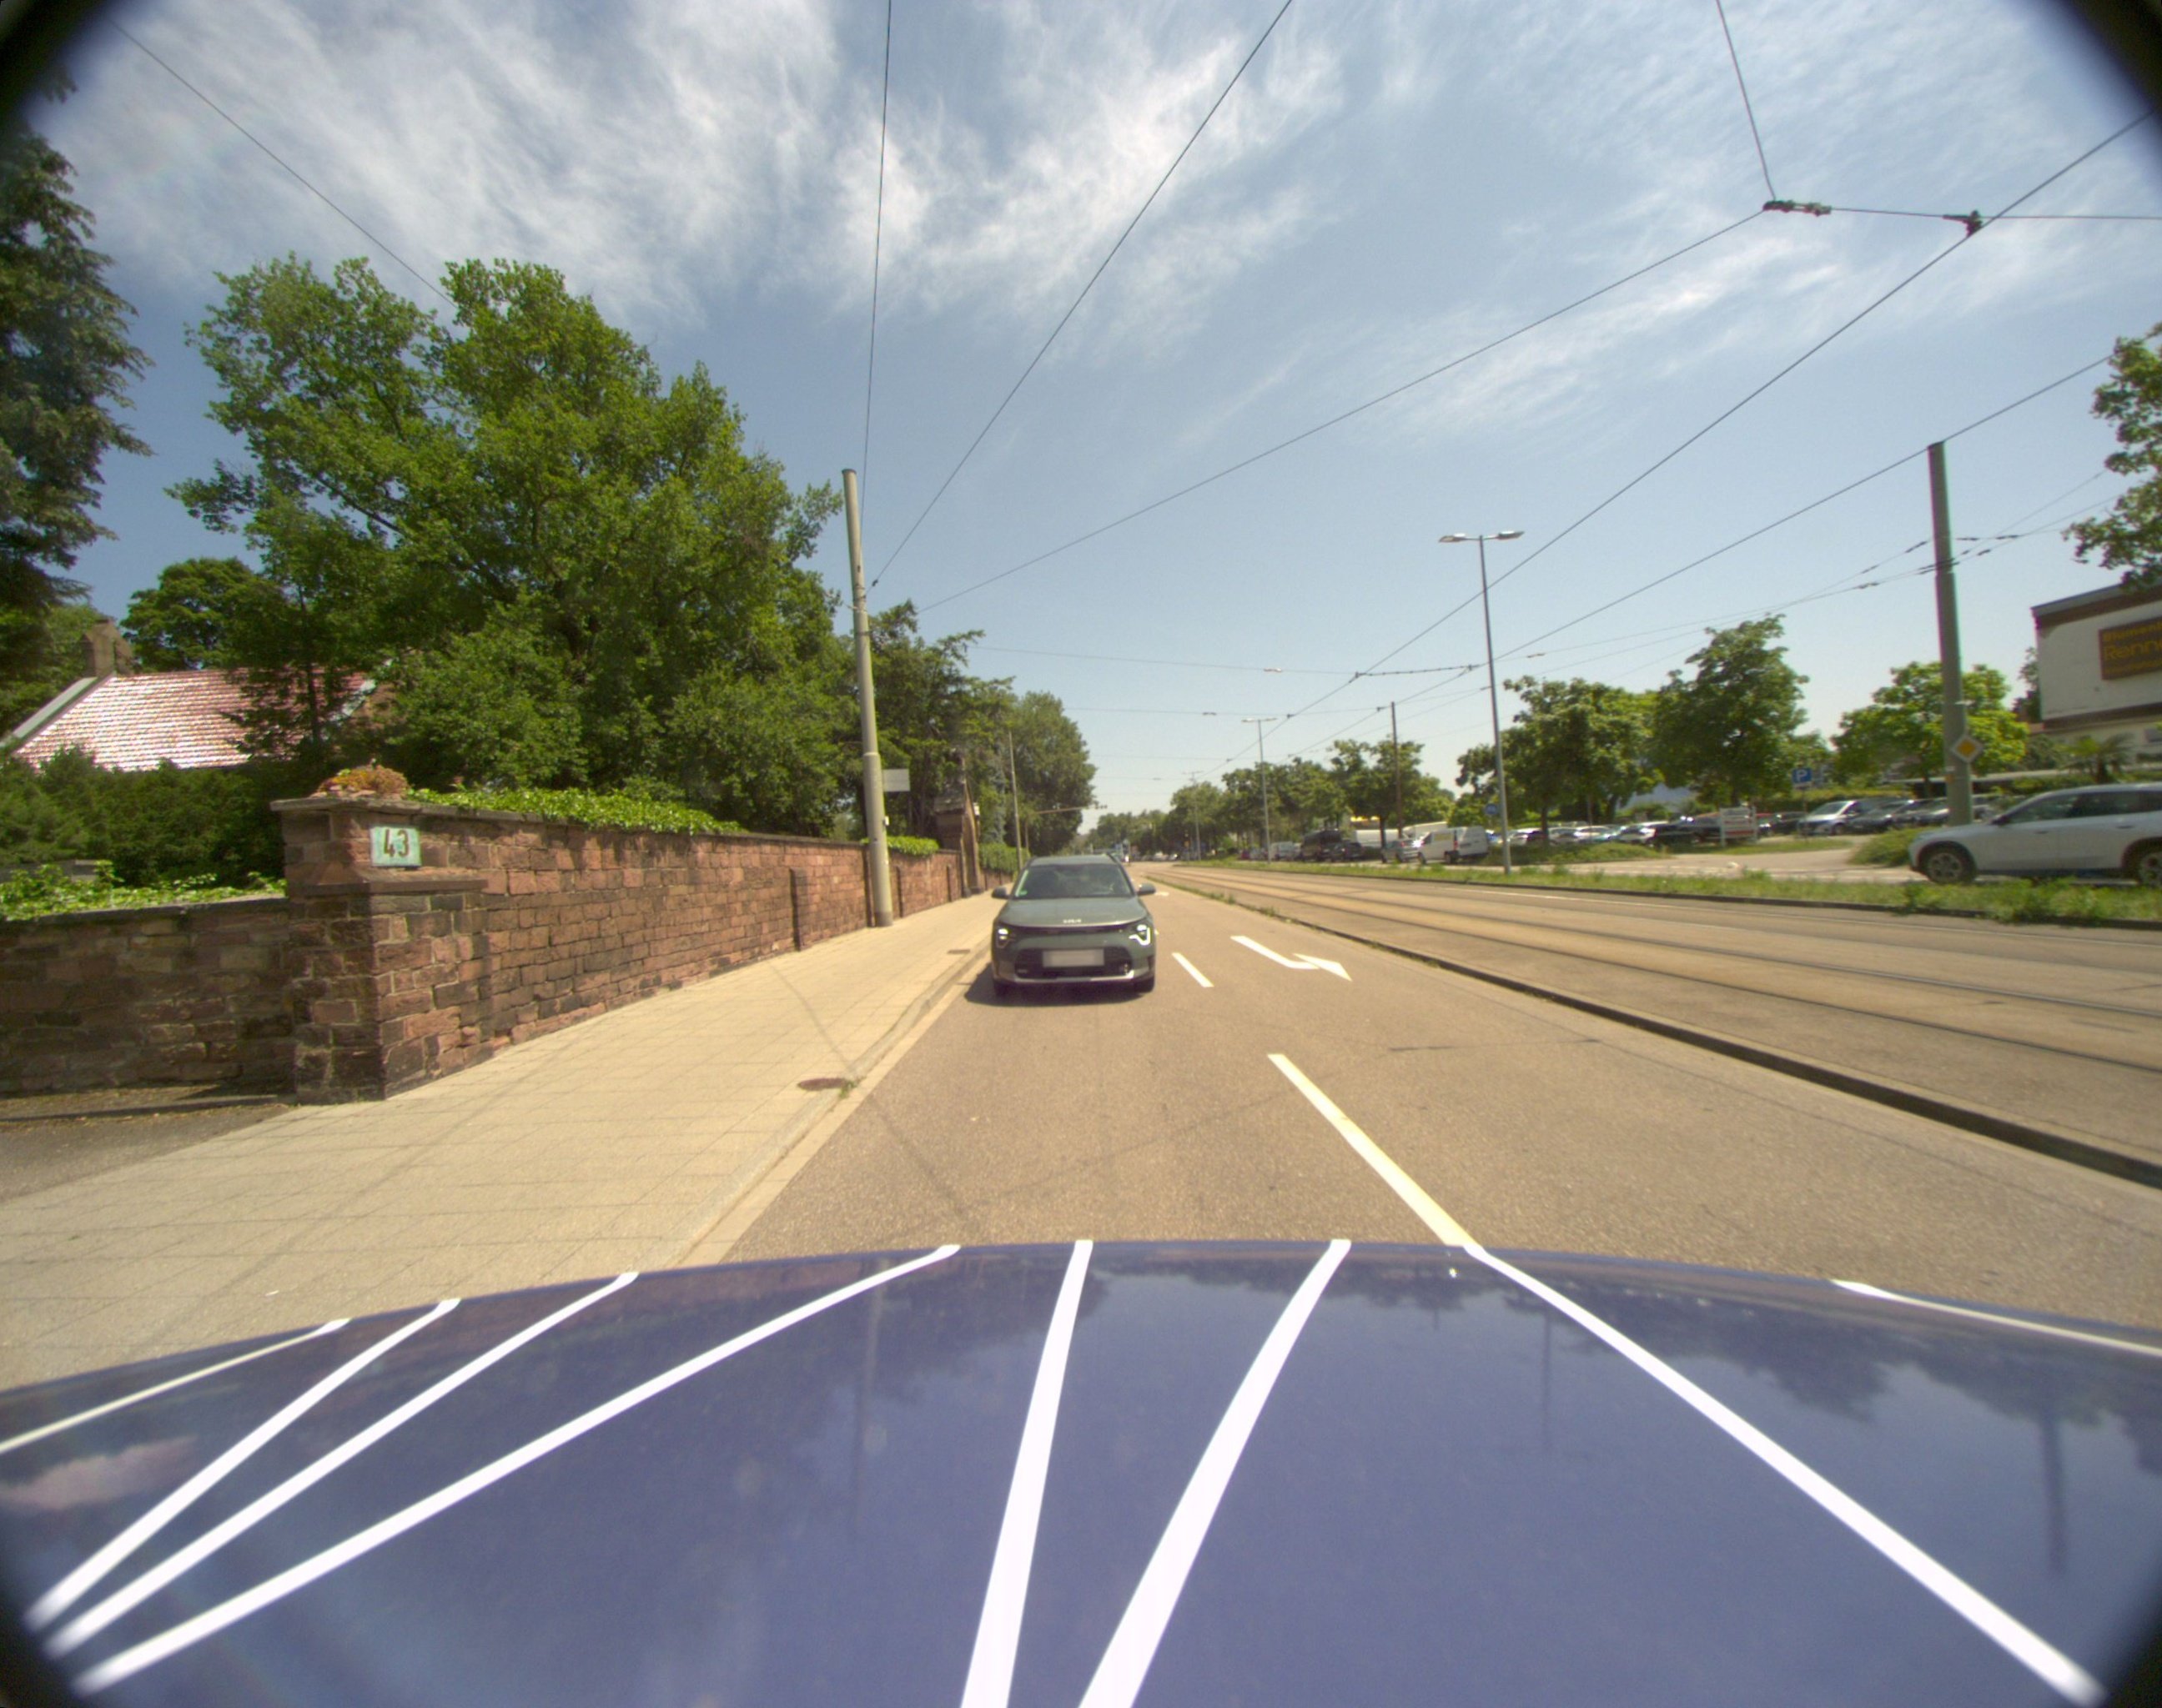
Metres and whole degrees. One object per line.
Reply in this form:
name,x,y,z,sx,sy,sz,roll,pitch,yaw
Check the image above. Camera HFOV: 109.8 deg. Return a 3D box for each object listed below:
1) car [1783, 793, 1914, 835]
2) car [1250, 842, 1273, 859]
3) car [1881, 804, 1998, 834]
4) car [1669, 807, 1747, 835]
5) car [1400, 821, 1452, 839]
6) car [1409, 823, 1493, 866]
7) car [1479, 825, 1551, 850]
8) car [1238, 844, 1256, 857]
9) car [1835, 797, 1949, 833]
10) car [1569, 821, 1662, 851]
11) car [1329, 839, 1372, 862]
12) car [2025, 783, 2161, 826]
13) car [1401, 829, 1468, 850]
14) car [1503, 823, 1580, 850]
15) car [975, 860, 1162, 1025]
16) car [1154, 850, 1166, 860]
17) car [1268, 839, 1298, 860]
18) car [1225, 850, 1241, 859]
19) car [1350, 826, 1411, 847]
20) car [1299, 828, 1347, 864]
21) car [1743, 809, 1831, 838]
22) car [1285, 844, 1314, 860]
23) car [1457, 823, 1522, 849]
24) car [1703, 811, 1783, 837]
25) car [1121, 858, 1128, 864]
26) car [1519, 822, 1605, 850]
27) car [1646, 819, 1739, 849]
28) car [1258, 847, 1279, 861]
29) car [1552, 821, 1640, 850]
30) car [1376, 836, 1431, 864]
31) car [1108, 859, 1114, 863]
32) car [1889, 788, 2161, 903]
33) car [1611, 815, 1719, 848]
car,43.325,-2.205,42.991,5.120,2.058,2.226,-3,1,1
car,20.828,-0.408,87.876,1.635,1.882,4.496,-3,1,1
car,42.727,-1.743,37.872,3.724,1.277,1.764,-3,1,3
car,43.696,-2.312,53.008,4.129,1.643,1.692,-3,0,-5
car,44.495,-3.097,98.012,5.744,2.051,2.147,-3,1,-2
car,20.016,-0.487,41.398,1.880,1.999,5.344,-7,0,1
car,30.482,-1.164,53.404,3.999,1.479,1.866,-4,0,-6
car,20.562,-0.435,94.412,1.582,1.471,3.423,-3,1,2
car,43.235,-2.051,40.570,3.996,1.647,1.804,-3,1,3
car,30.379,-1.021,43.211,4.040,1.481,1.912,-3,1,-6
car,20.295,-0.268,57.373,1.976,1.568,3.752,-3,1,1
car,43.299,-2.092,32.411,3.996,1.570,1.520,-3,1,3
car,31.200,-1.258,67.101,4.926,1.567,2.000,-4,0,-2
car,30.829,-1.161,50.910,4.075,1.481,1.831,-4,0,-6
car,-0.138,0.906,9.762,1.824,1.577,4.287,-2,0,0
car,16.319,0.172,156.493,1.821,1.979,4.212,-3,1,-3
car,20.576,-0.468,77.639,1.924,1.937,4.817,-3,1,2
car,21.316,0.103,106.465,1.582,1.152,3.423,-3,1,2
car,30.654,-1.769,77.925,5.434,1.944,2.029,-3,1,2
car,20.225,-0.673,63.737,2.244,2.821,5.667,-3,1,1
car,44.075,-1.910,47.480,3.997,1.576,1.684,-3,1,-1
car,20.573,-0.202,71.791,1.767,1.456,3.608,-3,1,2
car,31.587,-1.362,58.821,3.998,1.707,1.797,-4,0,-3
car,44.197,-2.001,50.729,3.999,1.486,1.715,-3,1,-5
car,12.987,2.082,227.067,1.820,1.471,3.423,-3,1,2
car,30.396,-1.118,48.080,4.163,1.481,2.023,-4,0,-6
car,30.504,-1.001,37.959,3.423,1.225,1.643,-4,0,-6
car,20.500,-0.036,83.070,1.429,1.470,3.262,-3,1,1
car,30.903,-1.101,45.667,4.146,1.481,1.859,-3,1,-6
car,20.136,-0.263,47.664,1.654,1.494,4.126,-7,0,1
car,10.330,2.452,262.619,1.781,1.310,3.753,-3,1,-2
car,15.973,-0.175,11.956,1.728,1.601,4.570,-3,1,2
car,31.098,-1.177,40.526,4.172,1.481,1.984,-4,0,-1
